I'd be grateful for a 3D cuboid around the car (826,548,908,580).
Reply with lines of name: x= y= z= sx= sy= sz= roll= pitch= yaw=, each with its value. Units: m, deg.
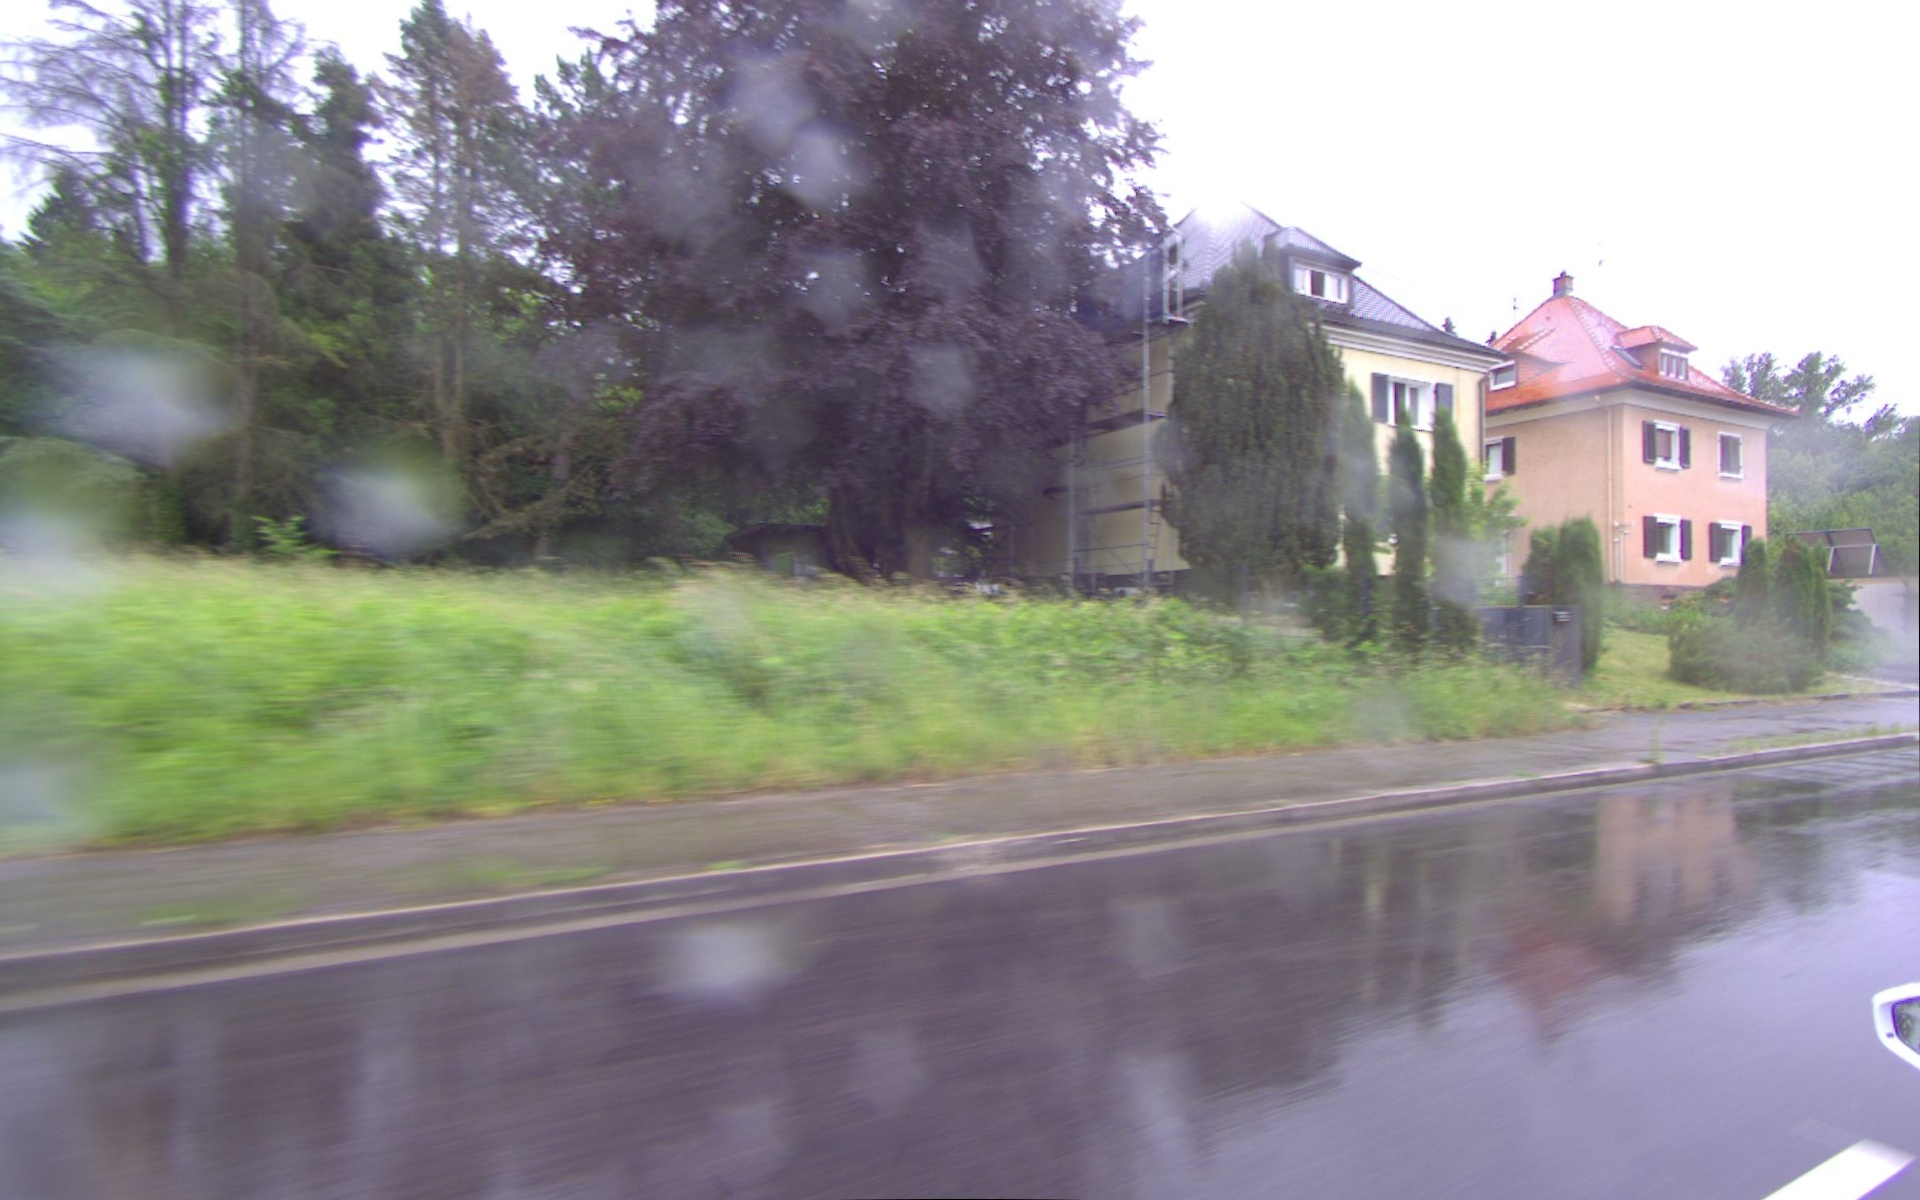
car: x=-4.401 y=-1.677 z=47.487 sx=3.596 sy=1.428 sz=1.794 roll=0 pitch=1 yaw=-16
